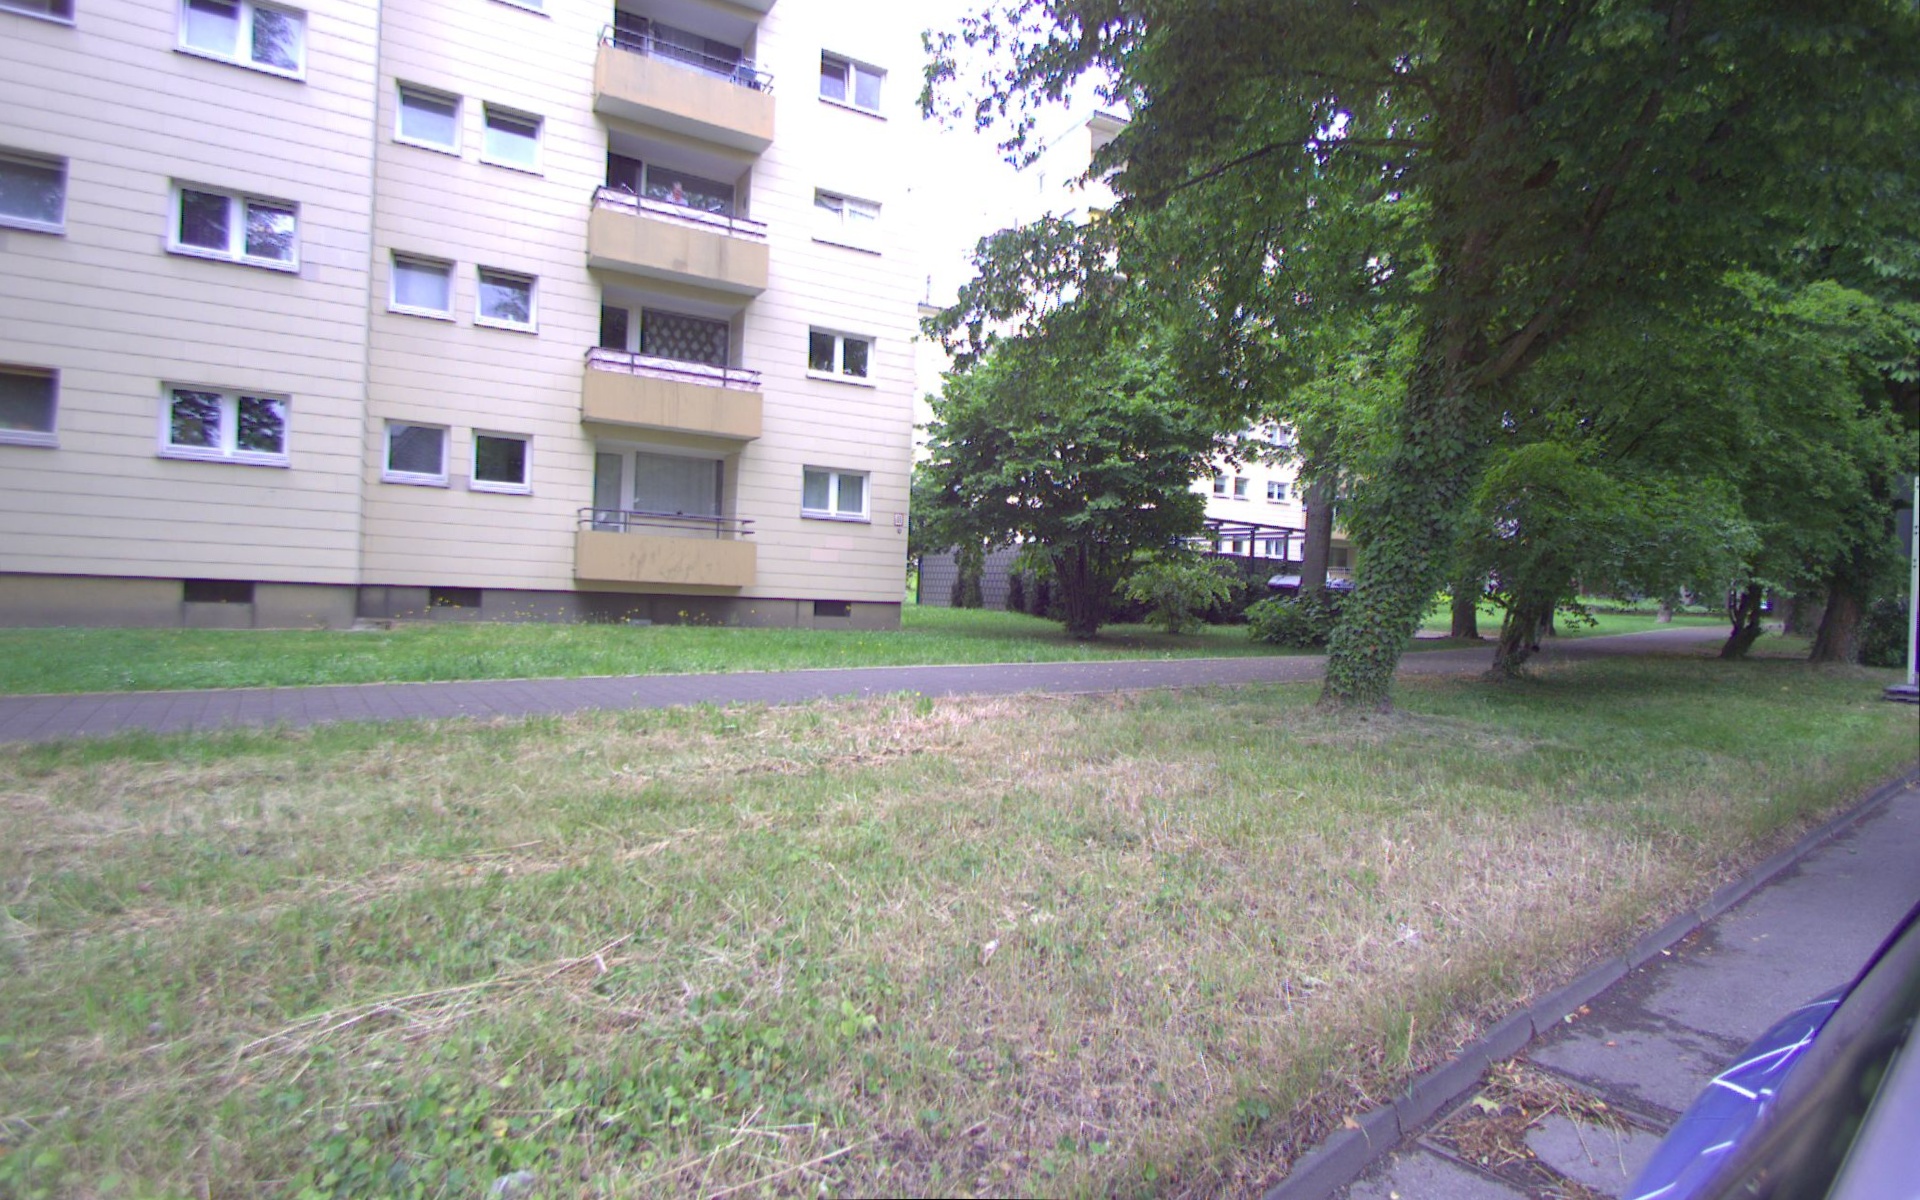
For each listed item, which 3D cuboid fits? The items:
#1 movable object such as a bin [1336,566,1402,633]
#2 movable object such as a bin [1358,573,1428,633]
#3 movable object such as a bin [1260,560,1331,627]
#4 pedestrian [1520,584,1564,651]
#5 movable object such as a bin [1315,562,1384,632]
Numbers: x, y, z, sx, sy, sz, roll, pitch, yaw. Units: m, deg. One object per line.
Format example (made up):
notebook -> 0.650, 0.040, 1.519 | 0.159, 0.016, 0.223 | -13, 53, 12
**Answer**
movable object such as a bin -> 10.775, -0.039, 26.643 | 1.058, 1.662, 1.238 | -1, 4, -45
movable object such as a bin -> 11.705, 0.056, 27.375 | 1.182, 1.492, 1.326 | -1, 4, -44
movable object such as a bin -> 8.858, -0.199, 26.734 | 1.004, 1.662, 1.432 | -1, 4, -44
pedestrian -> 12.567, 0.367, 21.860 | 0.687, 1.398, 0.597 | 2, 2, 41
movable object such as a bin -> 9.885, -0.101, 25.695 | 1.004, 1.662, 1.275 | -1, 4, -45
